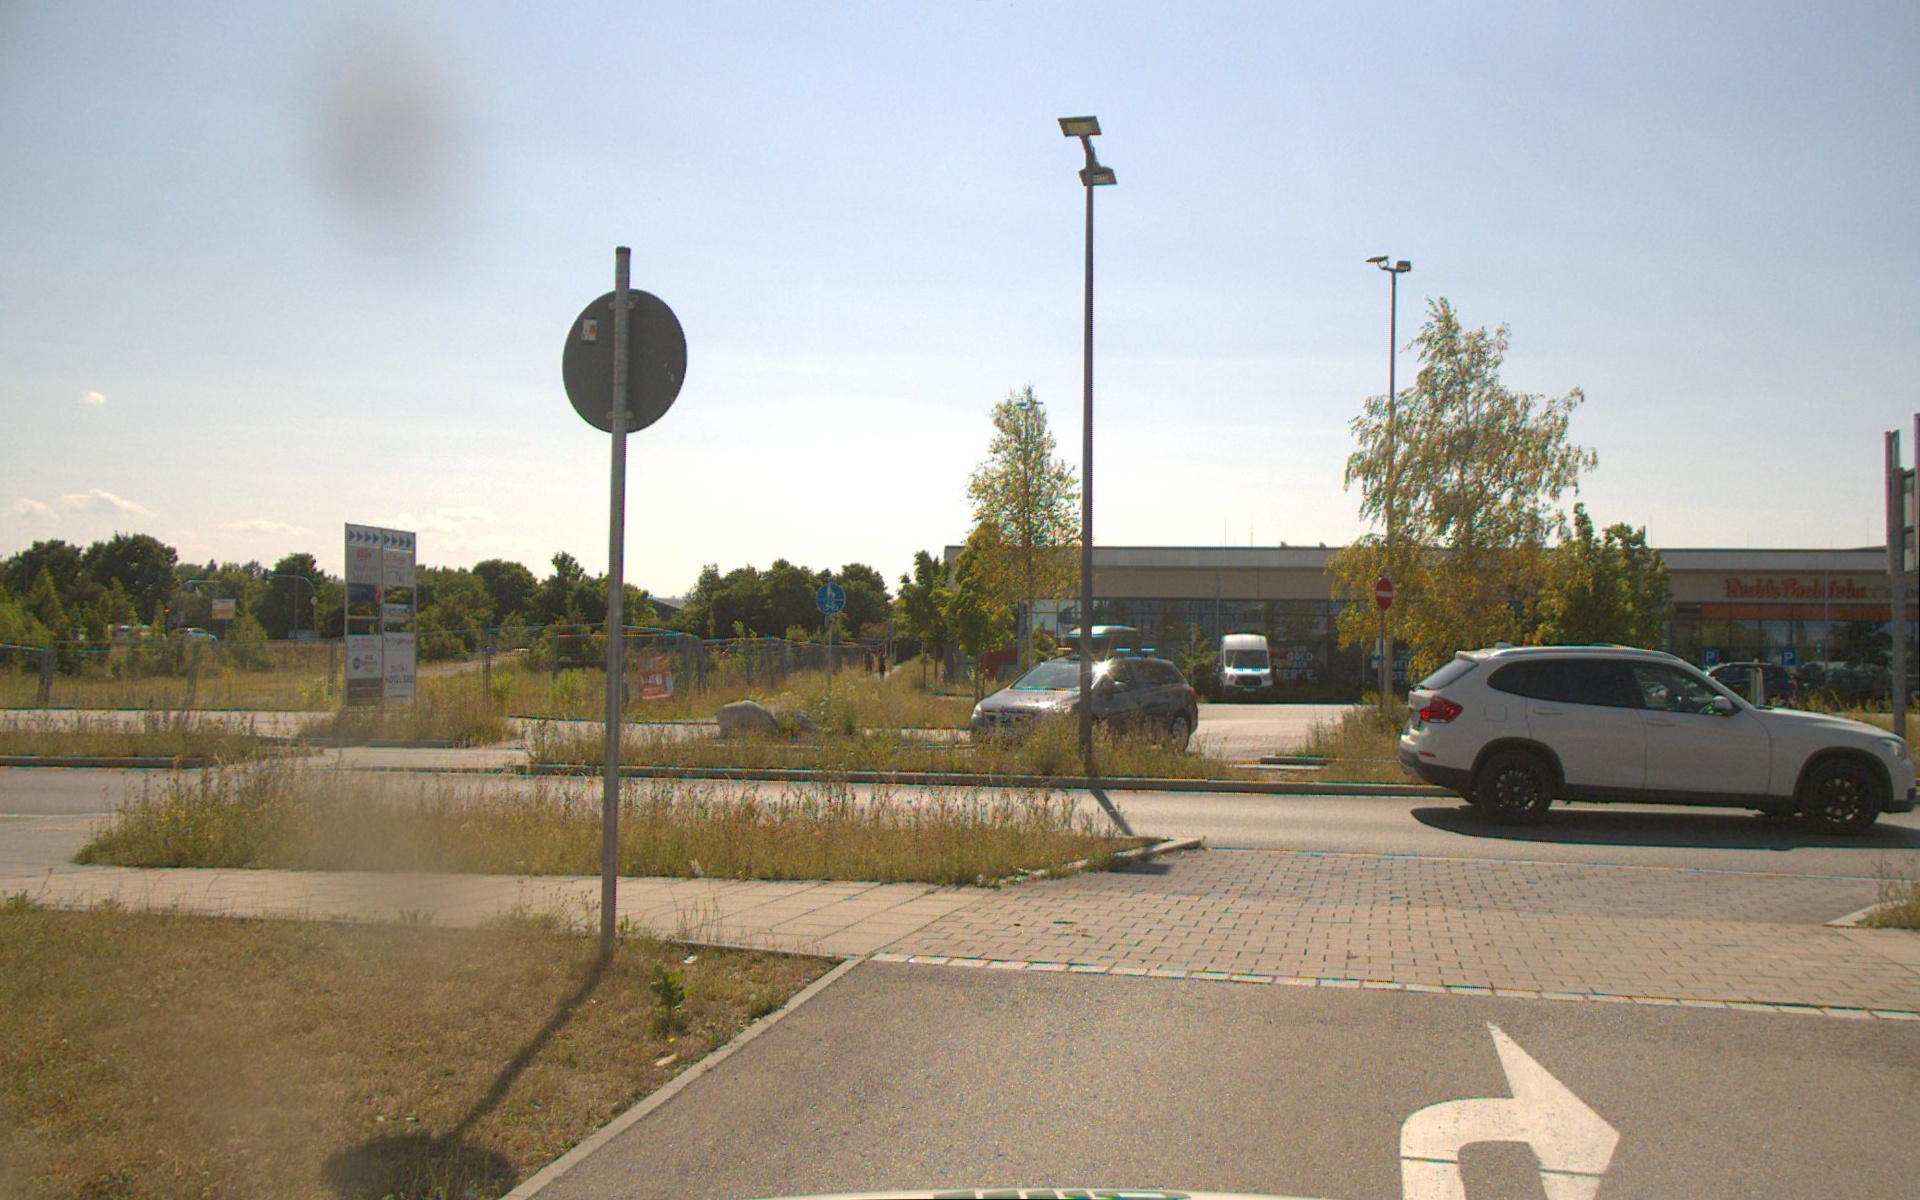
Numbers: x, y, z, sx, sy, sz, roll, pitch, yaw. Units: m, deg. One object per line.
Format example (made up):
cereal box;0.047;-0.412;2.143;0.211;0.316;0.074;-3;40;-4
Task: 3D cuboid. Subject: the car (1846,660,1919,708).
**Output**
car;35.393;3.151;62.718;1.951;1.737;4.003;0;-2;9

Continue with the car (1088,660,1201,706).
car;6.307;2.831;56.531;3.751;1.448;1.773;1;-2;6

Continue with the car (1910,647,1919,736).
car;22.526;2.048;36.098;2.037;2.049;5.230;0;-2;18

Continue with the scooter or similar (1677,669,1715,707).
scooter or similar;22.145;2.640;49.767;0.923;1.098;0.653;0;-2;14

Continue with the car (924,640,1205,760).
car;1.592;1.420;23.882;1.963;1.543;4.173;-1;-3;40

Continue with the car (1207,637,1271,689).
car;11.305;2.551;67.442;2.175;2.012;6.700;0;-2;6

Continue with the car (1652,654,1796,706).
car;23.603;2.470;51.201;3.712;1.535;1.733;0;-2;10

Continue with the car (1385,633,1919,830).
car;6.271;1.153;15.107;4.458;1.579;1.742;1;-2;8
